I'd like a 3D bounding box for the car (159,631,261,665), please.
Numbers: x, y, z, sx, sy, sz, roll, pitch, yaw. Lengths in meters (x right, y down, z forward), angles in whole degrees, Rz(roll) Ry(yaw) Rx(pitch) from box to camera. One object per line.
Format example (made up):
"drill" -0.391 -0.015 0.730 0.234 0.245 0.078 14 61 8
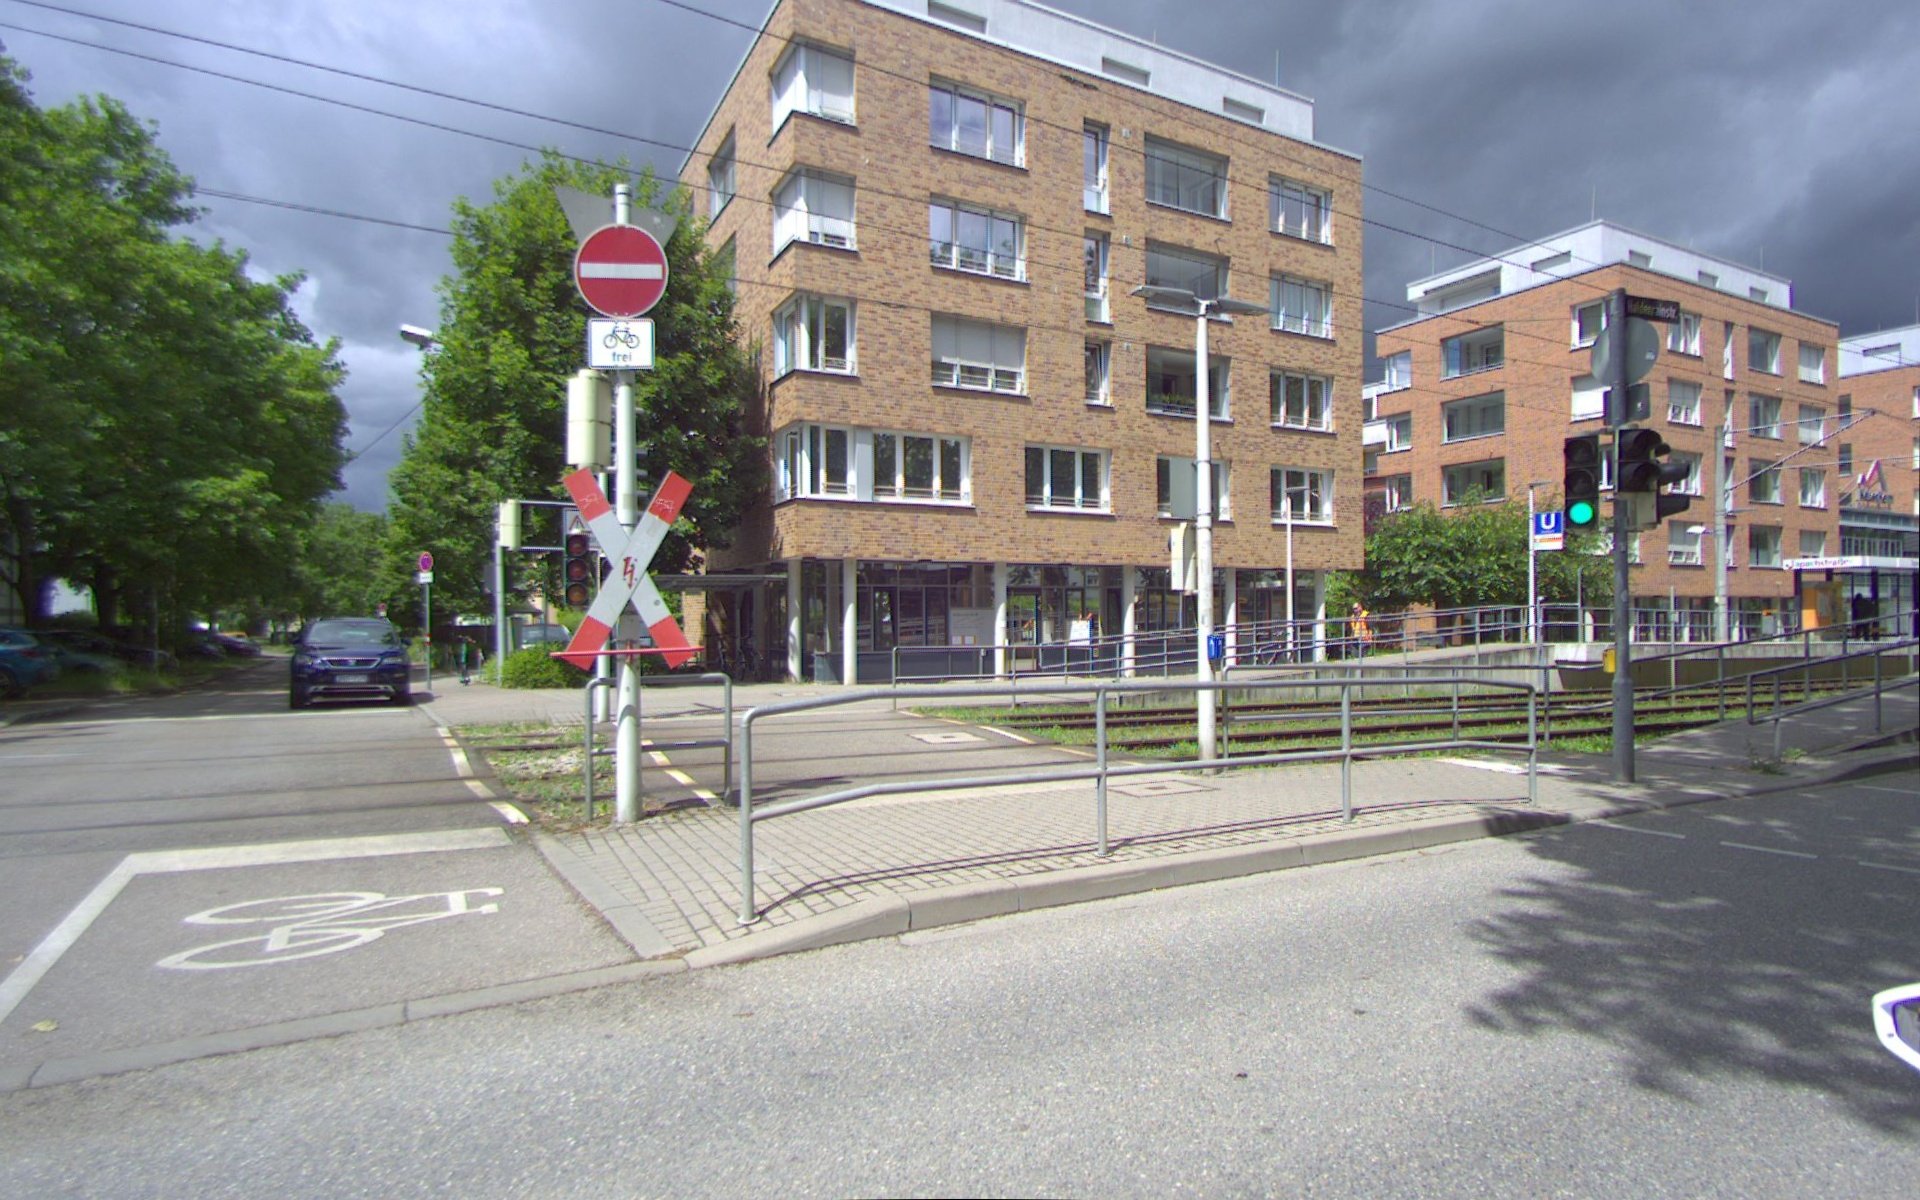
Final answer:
"car" -38.196 2.424 51.262 4.073 1.576 1.841 2 0 -37

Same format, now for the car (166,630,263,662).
"car" -39.783 2.434 53.670 4.073 1.576 1.841 2 0 -37

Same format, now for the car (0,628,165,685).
"car" -26.129 1.629 29.652 4.073 1.576 1.842 2 -2 -37

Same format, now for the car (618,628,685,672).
"car" -8.325 1.316 27.043 1.136 1.134 2.640 1 -2 -31

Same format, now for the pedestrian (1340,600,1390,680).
"pedestrian" 9.567 0.938 23.739 0.819 1.849 0.740 0 -1 -30

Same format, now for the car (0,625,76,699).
"car" -21.794 1.316 21.532 4.073 1.576 1.842 2 -2 -37

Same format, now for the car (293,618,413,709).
"car" -11.064 1.158 18.504 1.567 1.495 3.661 1 -3 -26

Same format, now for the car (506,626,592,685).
"car" -10.756 1.397 26.147 1.576 1.418 3.513 1 -2 -31

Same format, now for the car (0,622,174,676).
"car" -27.468 1.526 31.721 4.073 1.576 1.842 2 -2 -37

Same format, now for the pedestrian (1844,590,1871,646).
"pedestrian" 29.379 0.591 32.876 0.522 1.787 0.531 1 -1 -32

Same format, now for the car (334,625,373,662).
"car" -33.136 2.332 54.859 1.772 1.947 4.027 1 -2 -32
